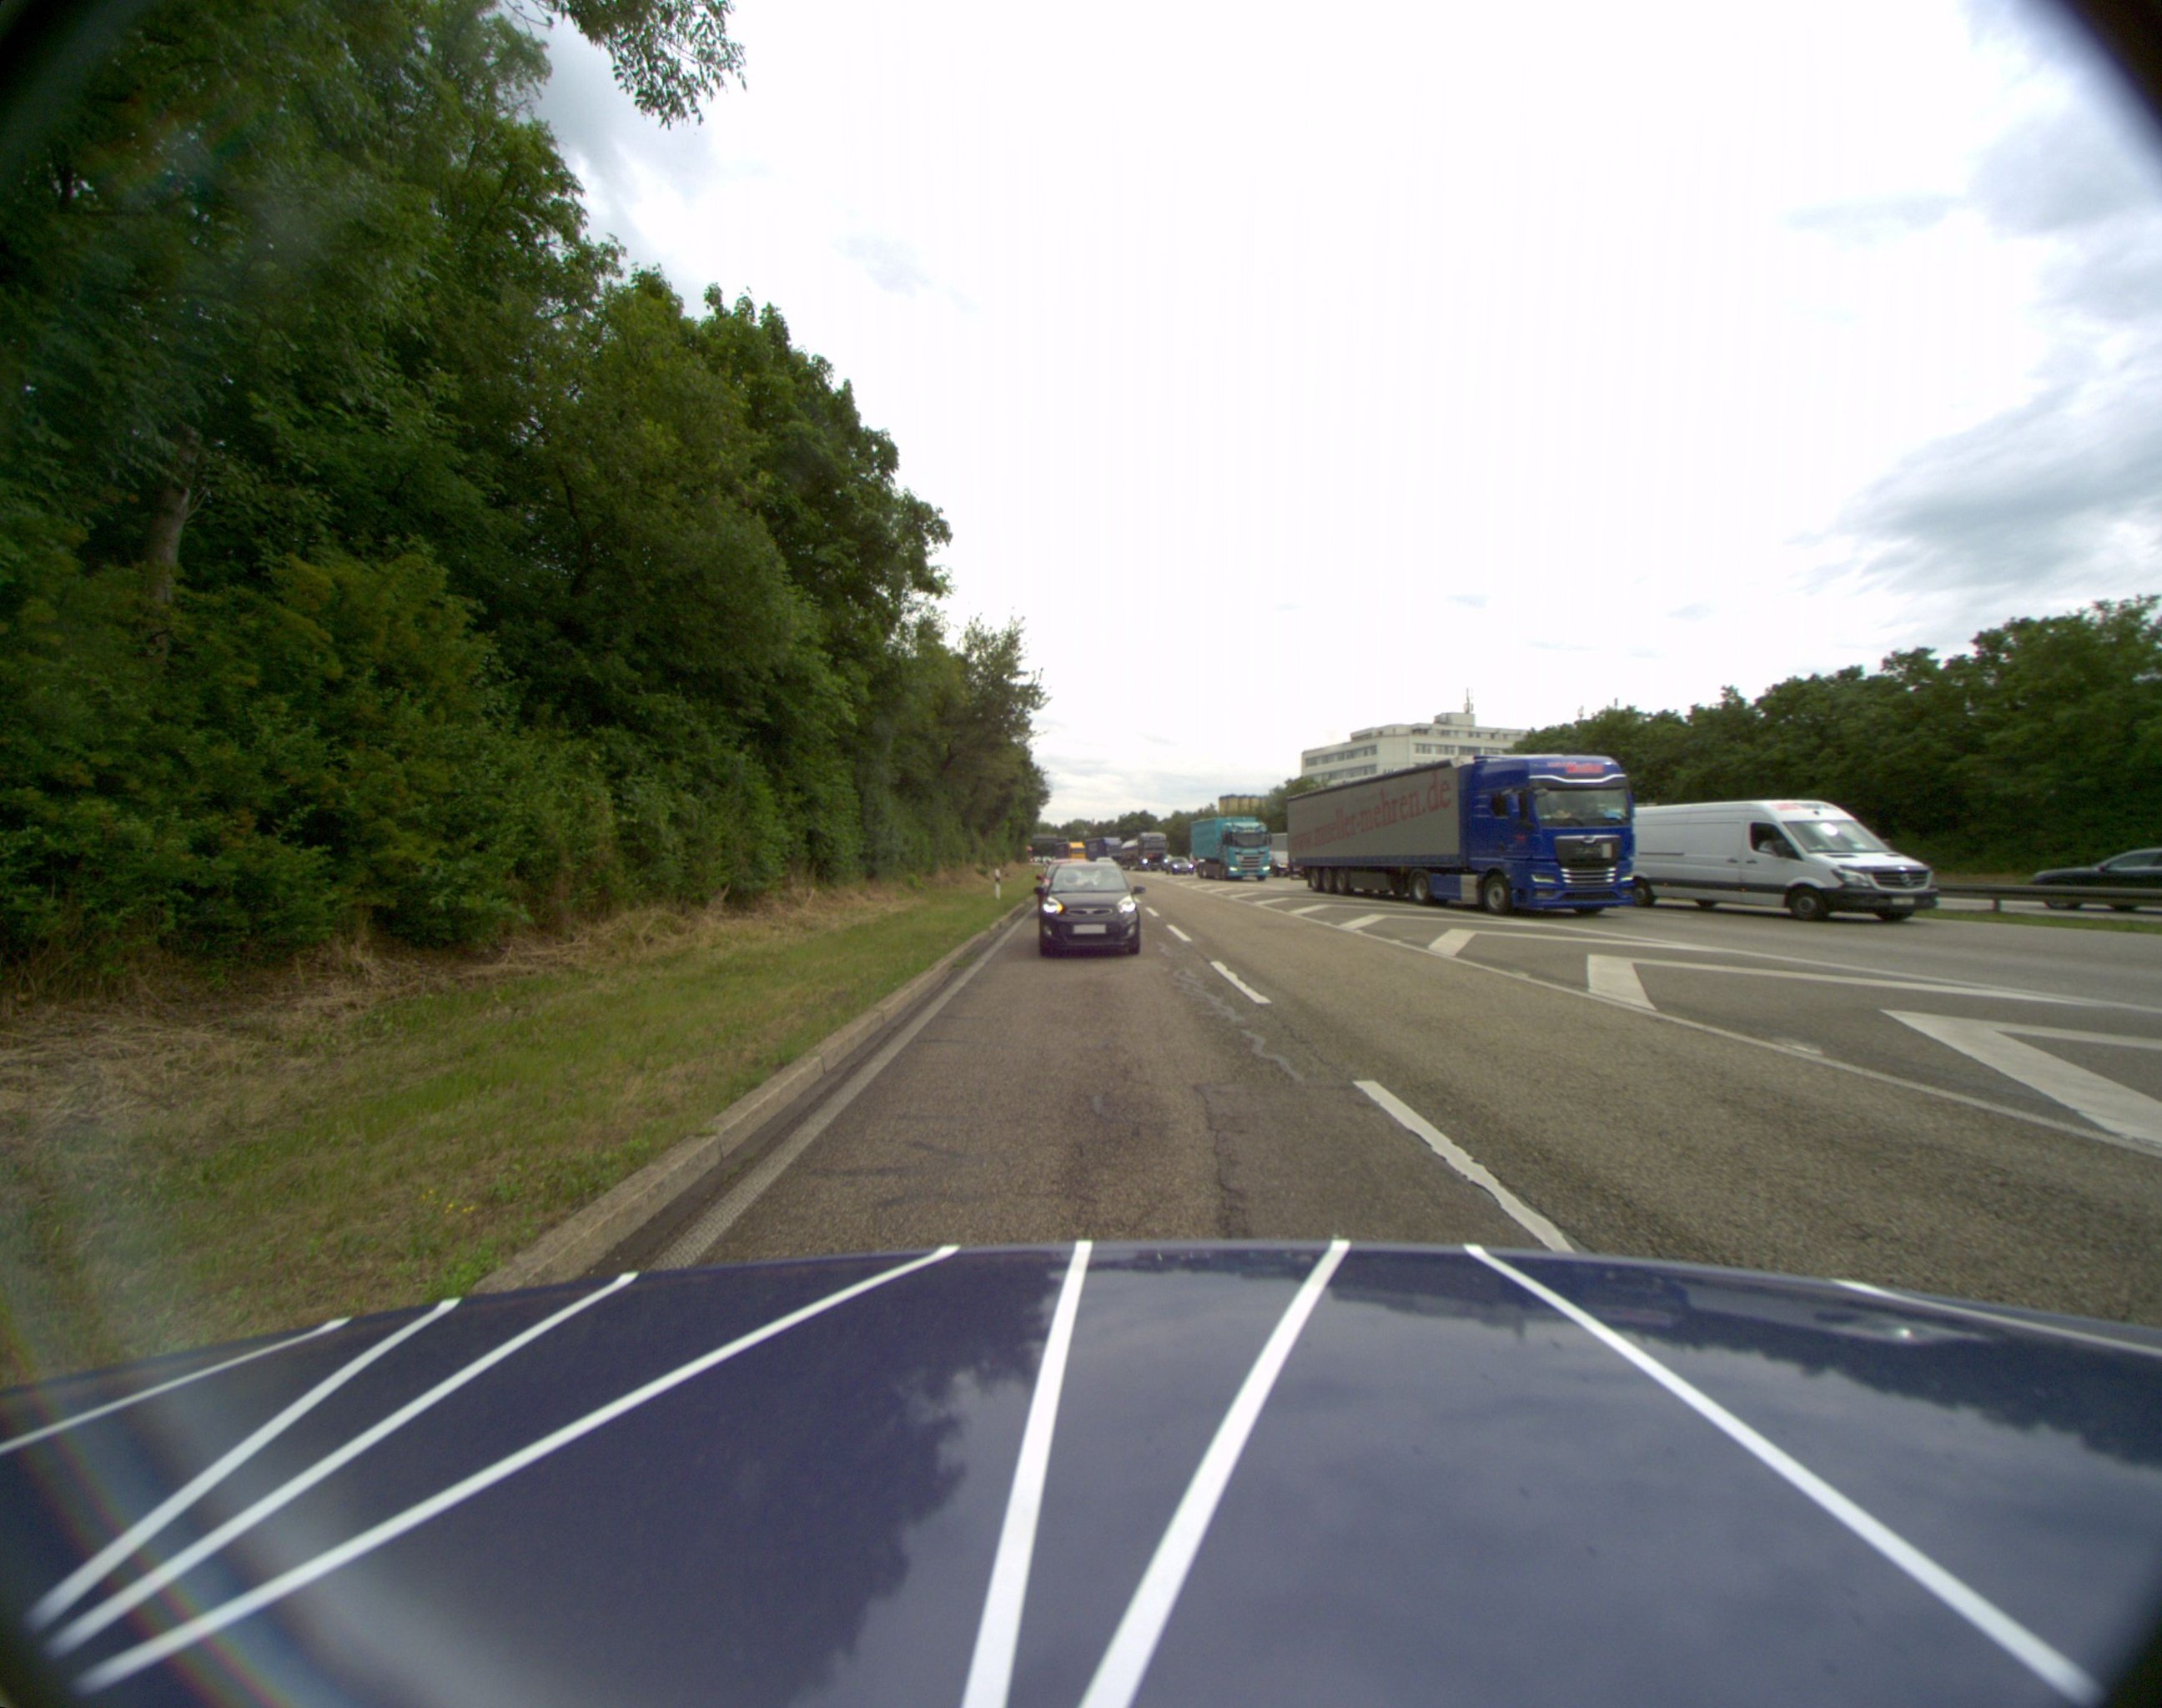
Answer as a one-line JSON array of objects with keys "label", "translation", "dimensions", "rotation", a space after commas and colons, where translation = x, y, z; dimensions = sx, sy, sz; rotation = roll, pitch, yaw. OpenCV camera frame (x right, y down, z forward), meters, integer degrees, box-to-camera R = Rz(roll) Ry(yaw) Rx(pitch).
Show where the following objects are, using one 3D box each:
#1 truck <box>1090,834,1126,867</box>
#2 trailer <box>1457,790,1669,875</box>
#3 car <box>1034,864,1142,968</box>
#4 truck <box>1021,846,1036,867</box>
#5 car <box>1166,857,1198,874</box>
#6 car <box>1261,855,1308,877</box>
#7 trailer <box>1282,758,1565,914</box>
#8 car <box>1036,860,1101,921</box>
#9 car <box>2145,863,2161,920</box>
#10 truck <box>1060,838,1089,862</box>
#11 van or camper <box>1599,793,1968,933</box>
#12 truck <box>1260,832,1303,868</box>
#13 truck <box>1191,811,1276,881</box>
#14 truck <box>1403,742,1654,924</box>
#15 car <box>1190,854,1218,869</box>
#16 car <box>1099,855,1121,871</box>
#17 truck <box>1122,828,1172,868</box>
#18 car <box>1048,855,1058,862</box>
[{"label": "truck", "translation": [3.582, -0.467, 106.131], "dimensions": [2.815, 4.206, 13.997], "rotation": [-1, 0, -7]}, {"label": "trailer", "translation": [26.443, -1.011, 43.194], "dimensions": [2.957, 4.067, 13.825], "rotation": [0, 0, -2]}, {"label": "car", "translation": [0.130, 0.946, 13.285], "dimensions": [1.584, 1.485, 4.000], "rotation": [-1, 0, 1]}, {"label": "truck", "translation": [-13.352, 0.628, 191.828], "dimensions": [2.848, 5.070, 14.110], "rotation": [-1, 0, -8]}, {"label": "car", "translation": [8.278, 0.904, 62.721], "dimensions": [1.757, 1.314, 3.998], "rotation": [-1, 0, -5]}, {"label": "car", "translation": [13.743, 0.756, 51.602], "dimensions": [1.898, 1.425, 3.998], "rotation": [0, 0, -3]}, {"label": "trailer", "translation": [10.565, -0.467, 26.233], "dimensions": [2.681, 3.951, 13.914], "rotation": [-1, 0, -4]}, {"label": "car", "translation": [-0.332, 0.943, 21.102], "dimensions": [1.631, 1.492, 3.563], "rotation": [0, 0, -1]}, {"label": "car", "translation": [27.127, 0.903, 16.982], "dimensions": [1.666, 1.383, 3.549], "rotation": [0, 0, -3]}, {"label": "truck", "translation": [-1.324, -0.643, 138.567], "dimensions": [2.848, 4.206, 14.108], "rotation": [-1, 0, -10]}, {"label": "van or camper", "translation": [15.534, 0.165, 17.705], "dimensions": [2.054, 2.606, 6.955], "rotation": [0, 0, -1]}, {"label": "truck", "translation": [22.153, -0.442, 84.400], "dimensions": [2.354, 3.861, 8.112], "rotation": [0, 0, -3]}, {"label": "truck", "translation": [9.433, -0.463, 48.412], "dimensions": [2.701, 3.977, 10.121], "rotation": [-1, 0, -4]}, {"label": "truck", "translation": [11.010, -0.460, 19.487], "dimensions": [2.676, 3.938, 5.925], "rotation": [-1, 0, -4]}, {"label": "car", "translation": [12.135, 0.741, 75.094], "dimensions": [1.898, 1.425, 4.054], "rotation": [0, 0, -3]}, {"label": "car", "translation": [2.719, 0.843, 72.191], "dimensions": [1.864, 1.455, 4.884], "rotation": [-1, 0, 0]}, {"label": "truck", "translation": [6.867, -0.620, 81.663], "dimensions": [3.329, 3.902, 13.140], "rotation": [-1, 0, -4]}, {"label": "car", "translation": [-5.850, 0.964, 160.852], "dimensions": [1.636, 1.328, 3.192], "rotation": [0, 0, -11]}]
